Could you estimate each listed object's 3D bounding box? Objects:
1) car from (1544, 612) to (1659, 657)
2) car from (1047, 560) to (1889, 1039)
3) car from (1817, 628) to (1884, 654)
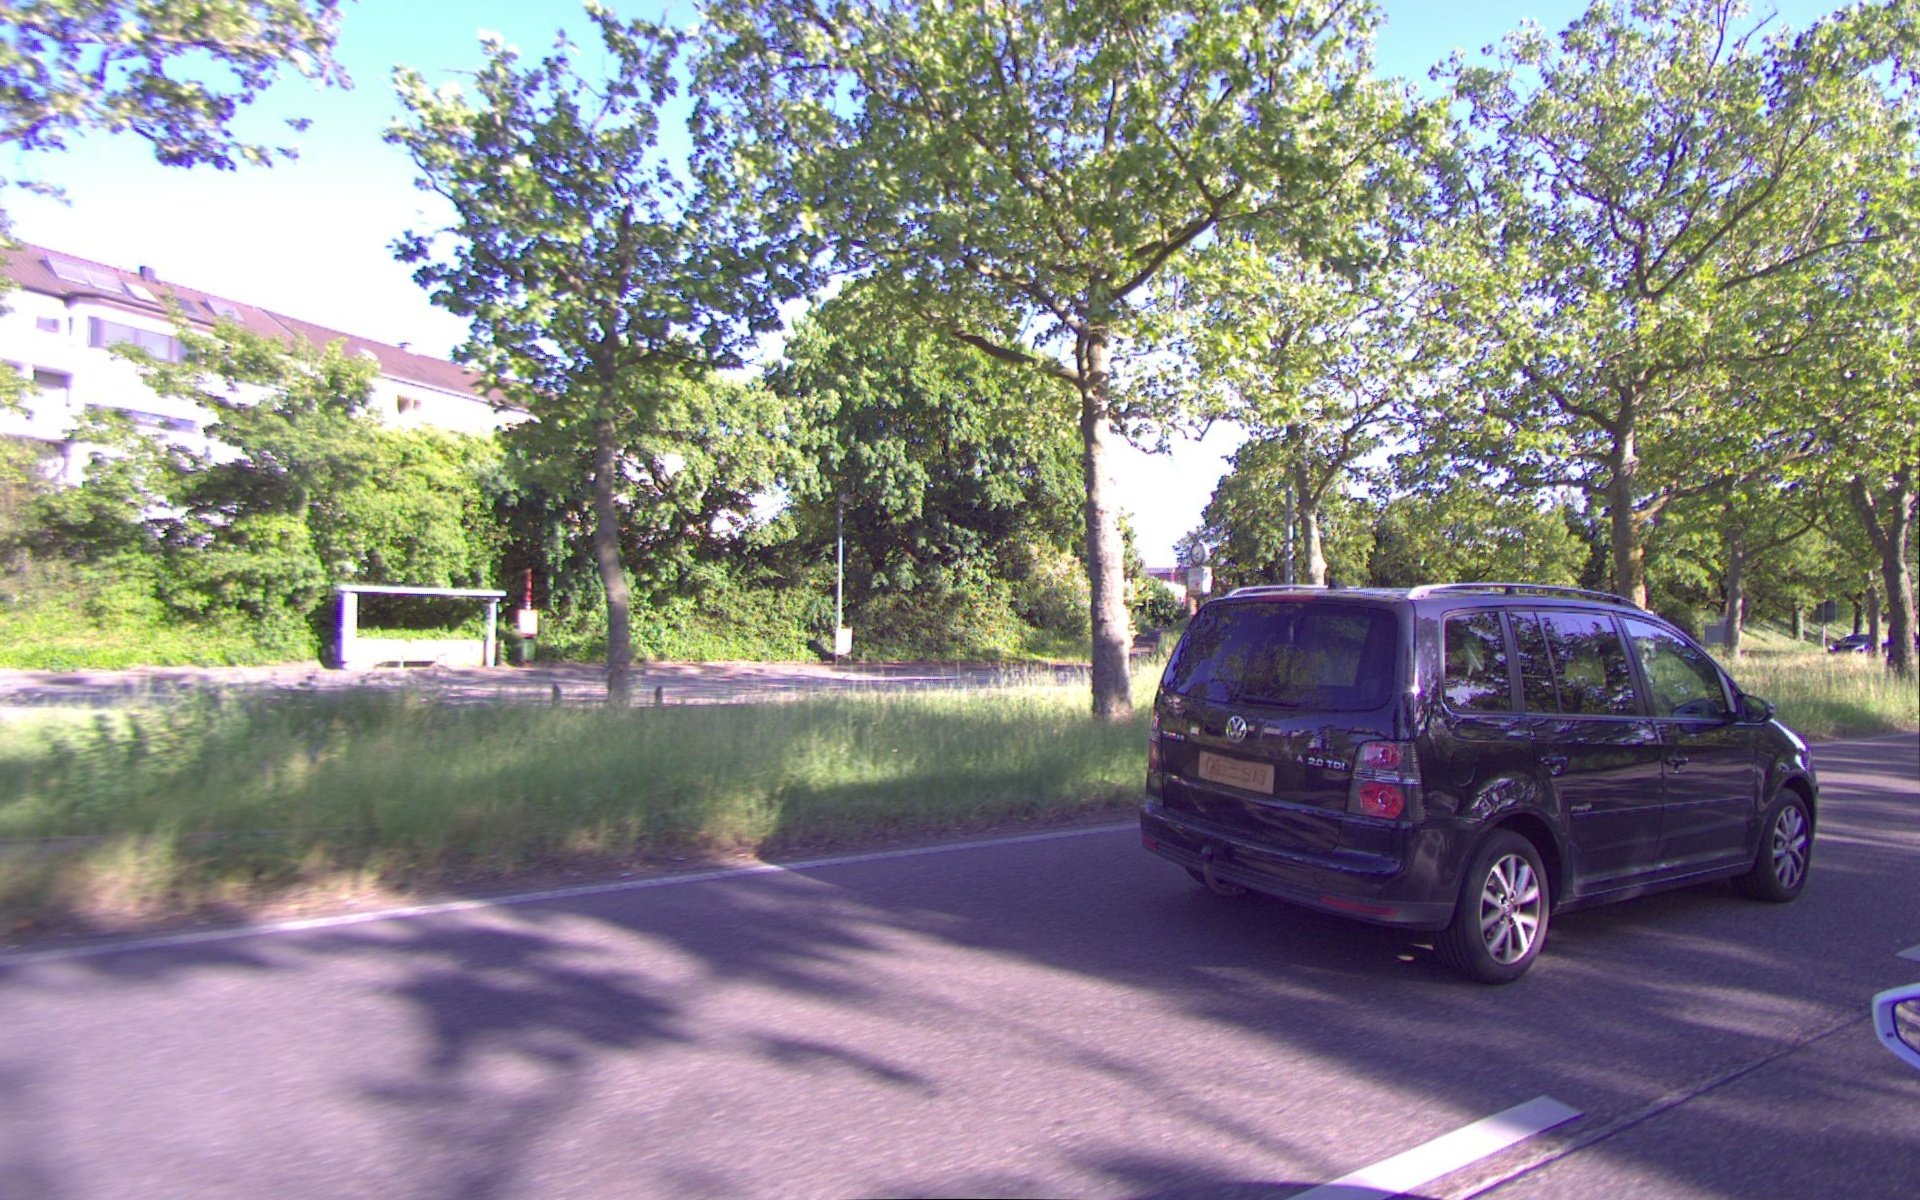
[{"bbox_3d":[29.260,1.553,45.766,5.675,1.927,2.124,1,-1,-31],"label":"car"},{"bbox_3d":[2.978,0.746,5.498,4.866,1.666,1.759,2,0,-30],"label":"car"},{"bbox_3d":[52.770,2.423,59.526,4.315,1.483,1.759,1,-1,-31],"label":"car"}]
